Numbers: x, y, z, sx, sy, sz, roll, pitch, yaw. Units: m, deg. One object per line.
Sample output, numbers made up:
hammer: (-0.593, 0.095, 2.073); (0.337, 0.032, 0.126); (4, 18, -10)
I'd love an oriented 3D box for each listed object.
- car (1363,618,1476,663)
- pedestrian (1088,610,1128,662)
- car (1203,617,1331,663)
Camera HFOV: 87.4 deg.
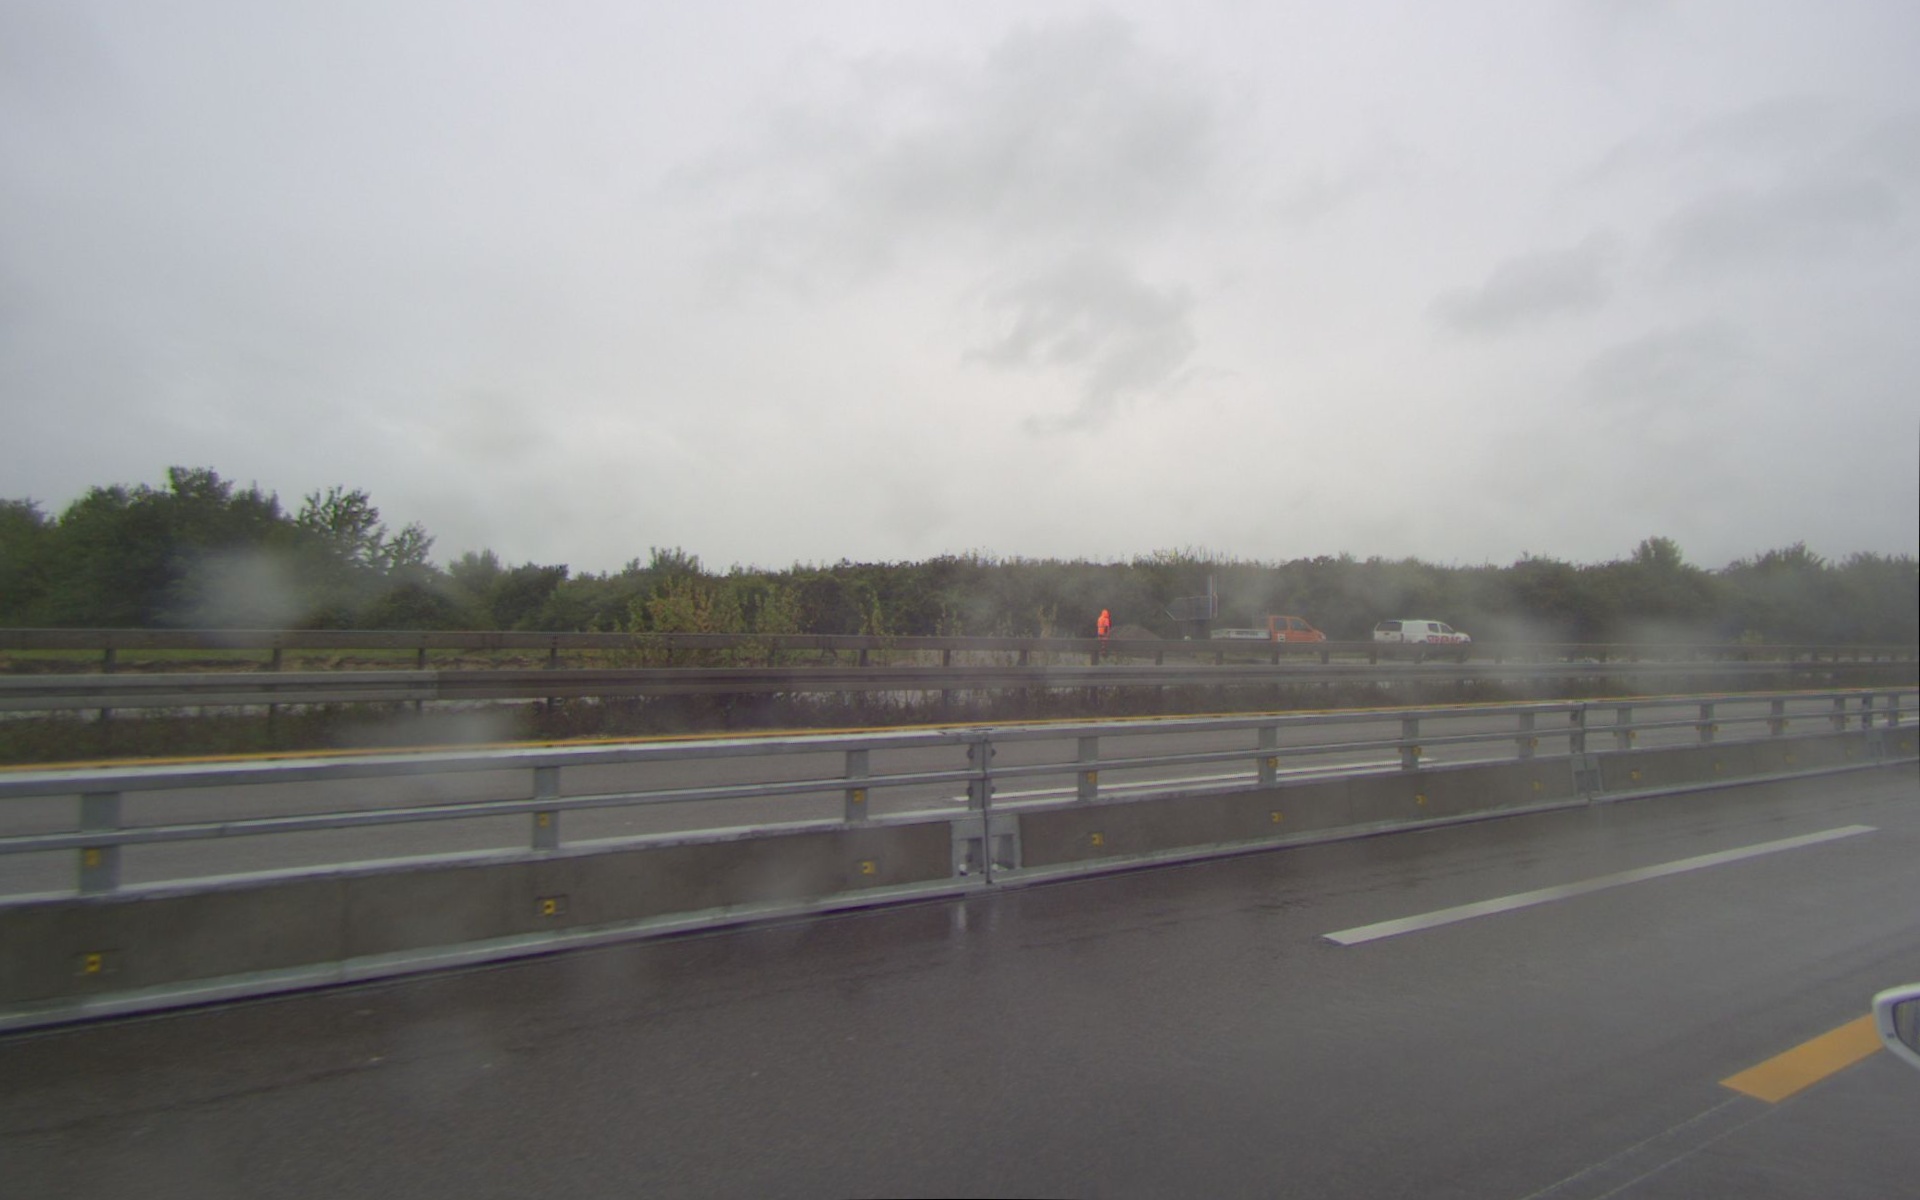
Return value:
car: (21.361, 1.889, 46.670); (5.300, 1.992, 2.085); (2, -1, -29)
pedestrian: (5.947, 1.436, 40.430); (1.113, 2.040, 1.099); (2, 0, -31)
car: (14.838, 1.906, 48.740); (5.475, 2.103, 2.367); (1, -1, -8)
